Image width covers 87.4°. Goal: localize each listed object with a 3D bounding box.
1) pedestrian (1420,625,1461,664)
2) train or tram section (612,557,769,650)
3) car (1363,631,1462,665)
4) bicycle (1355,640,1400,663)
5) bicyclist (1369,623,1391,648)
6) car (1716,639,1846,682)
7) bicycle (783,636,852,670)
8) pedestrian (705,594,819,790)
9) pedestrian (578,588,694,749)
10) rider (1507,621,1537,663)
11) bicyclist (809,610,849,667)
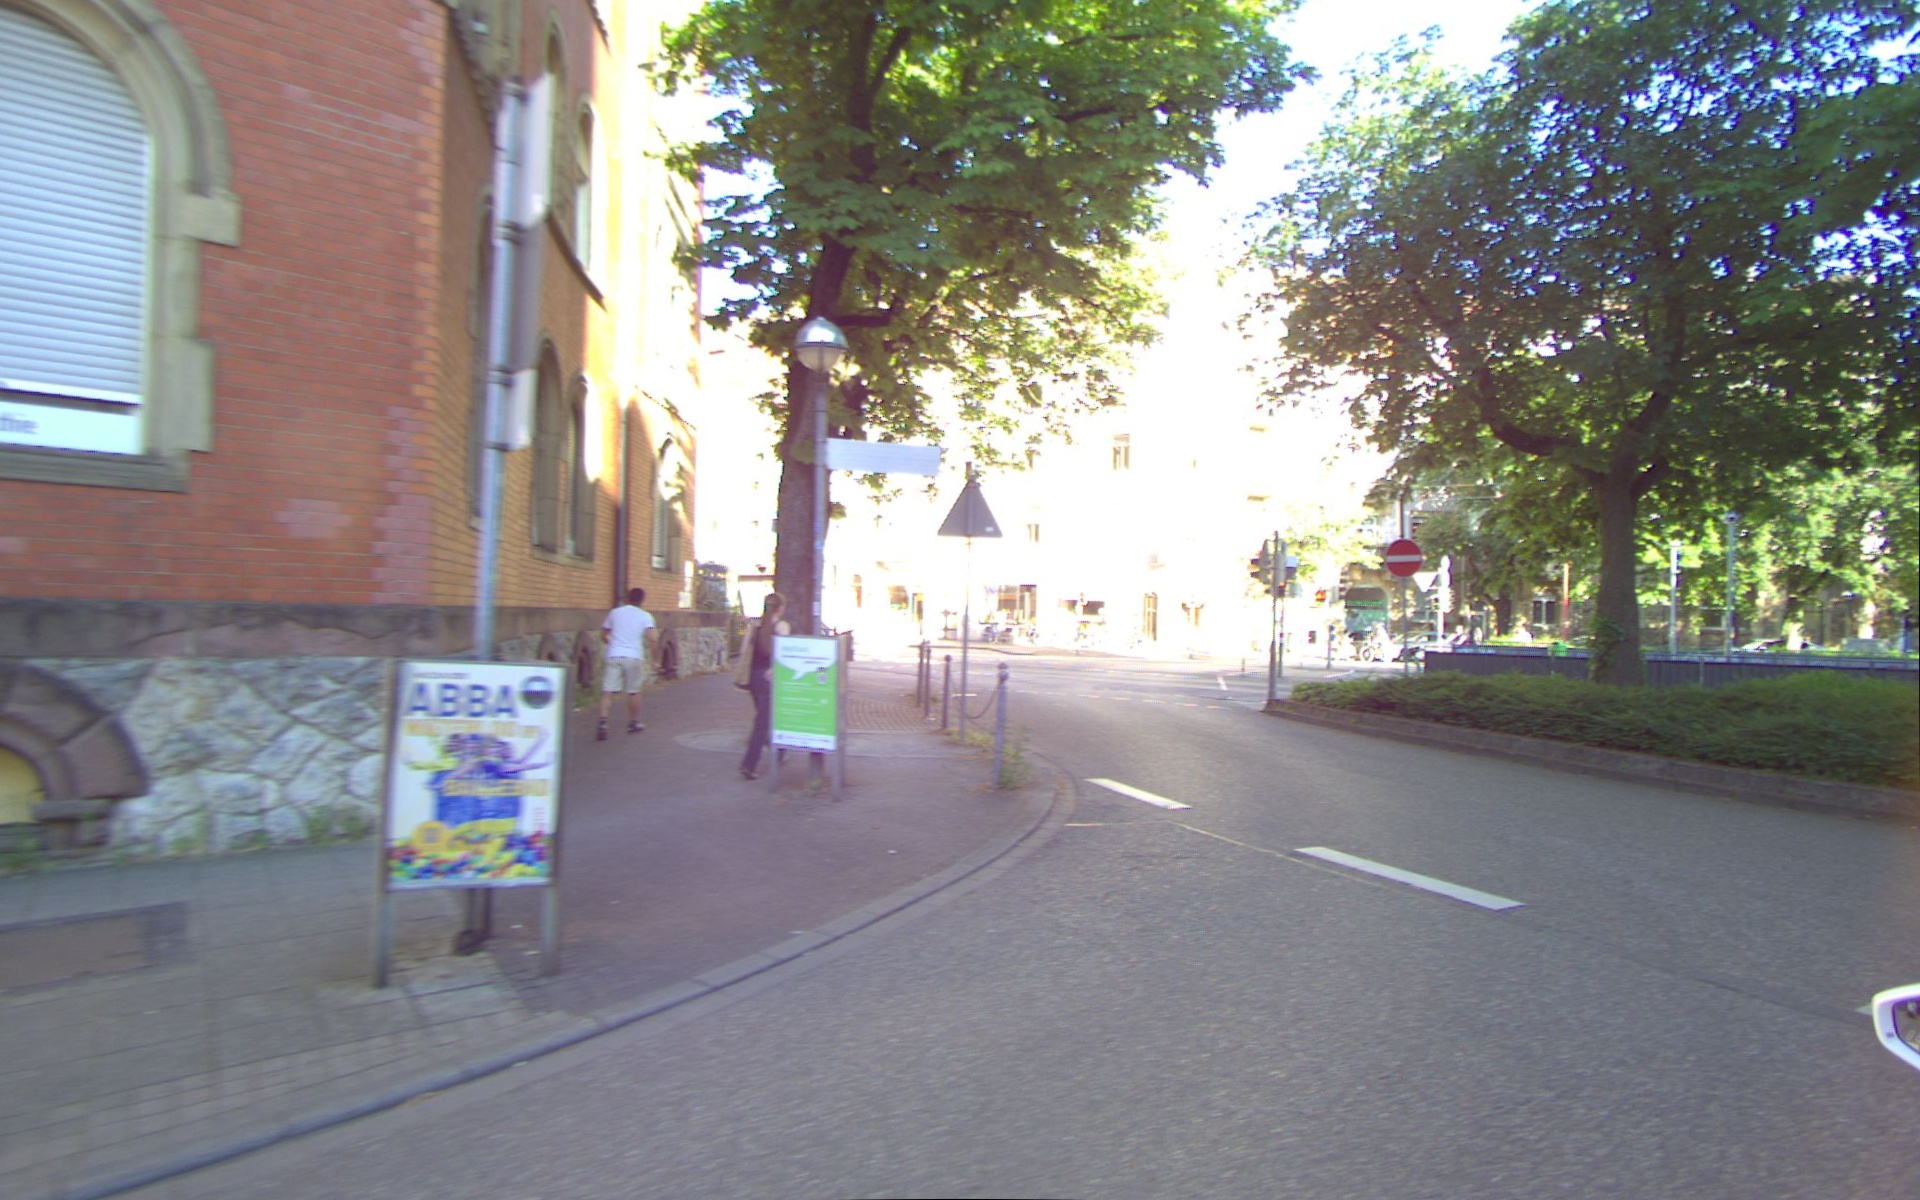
[{"bbox_3d":[25.093,2.318,52.524,1.466,1.937,1.259,1,-1,-8],"label":"pedestrian"},{"bbox_3d":[-11.540,0.155,42.838,6.235,3.689,2.916,1,-1,31],"label":"train or tram section"},{"bbox_3d":[20.443,2.166,45.422,3.641,1.458,1.897,1,-1,-11],"label":"car"},{"bbox_3d":[18.158,2.242,43.702,1.711,0.958,0.653,1,-1,-10],"label":"bicycle"},{"bbox_3d":[18.297,1.541,43.727,0.665,1.068,0.611,1,-1,-10],"label":"bicyclist"},{"bbox_3d":[35.483,2.596,43.512,3.868,1.701,1.956,1,-1,9],"label":"car"},{"bbox_3d":[-4.438,1.649,31.335,1.942,0.971,0.771,1,-1,14],"label":"bicycle"},{"bbox_3d":[-1.734,0.773,8.870,0.590,1.626,0.855,1,-1,22],"label":"pedestrian"},{"bbox_3d":[-3.545,0.722,11.002,0.856,1.665,0.857,1,-1,39],"label":"pedestrian"},{"bbox_3d":[23.681,1.760,42.343,0.662,1.704,0.816,2,1,-27],"label":"rider"},{"bbox_3d":[-4.093,1.210,31.455,1.026,1.739,0.696,1,-1,14],"label":"bicyclist"}]
